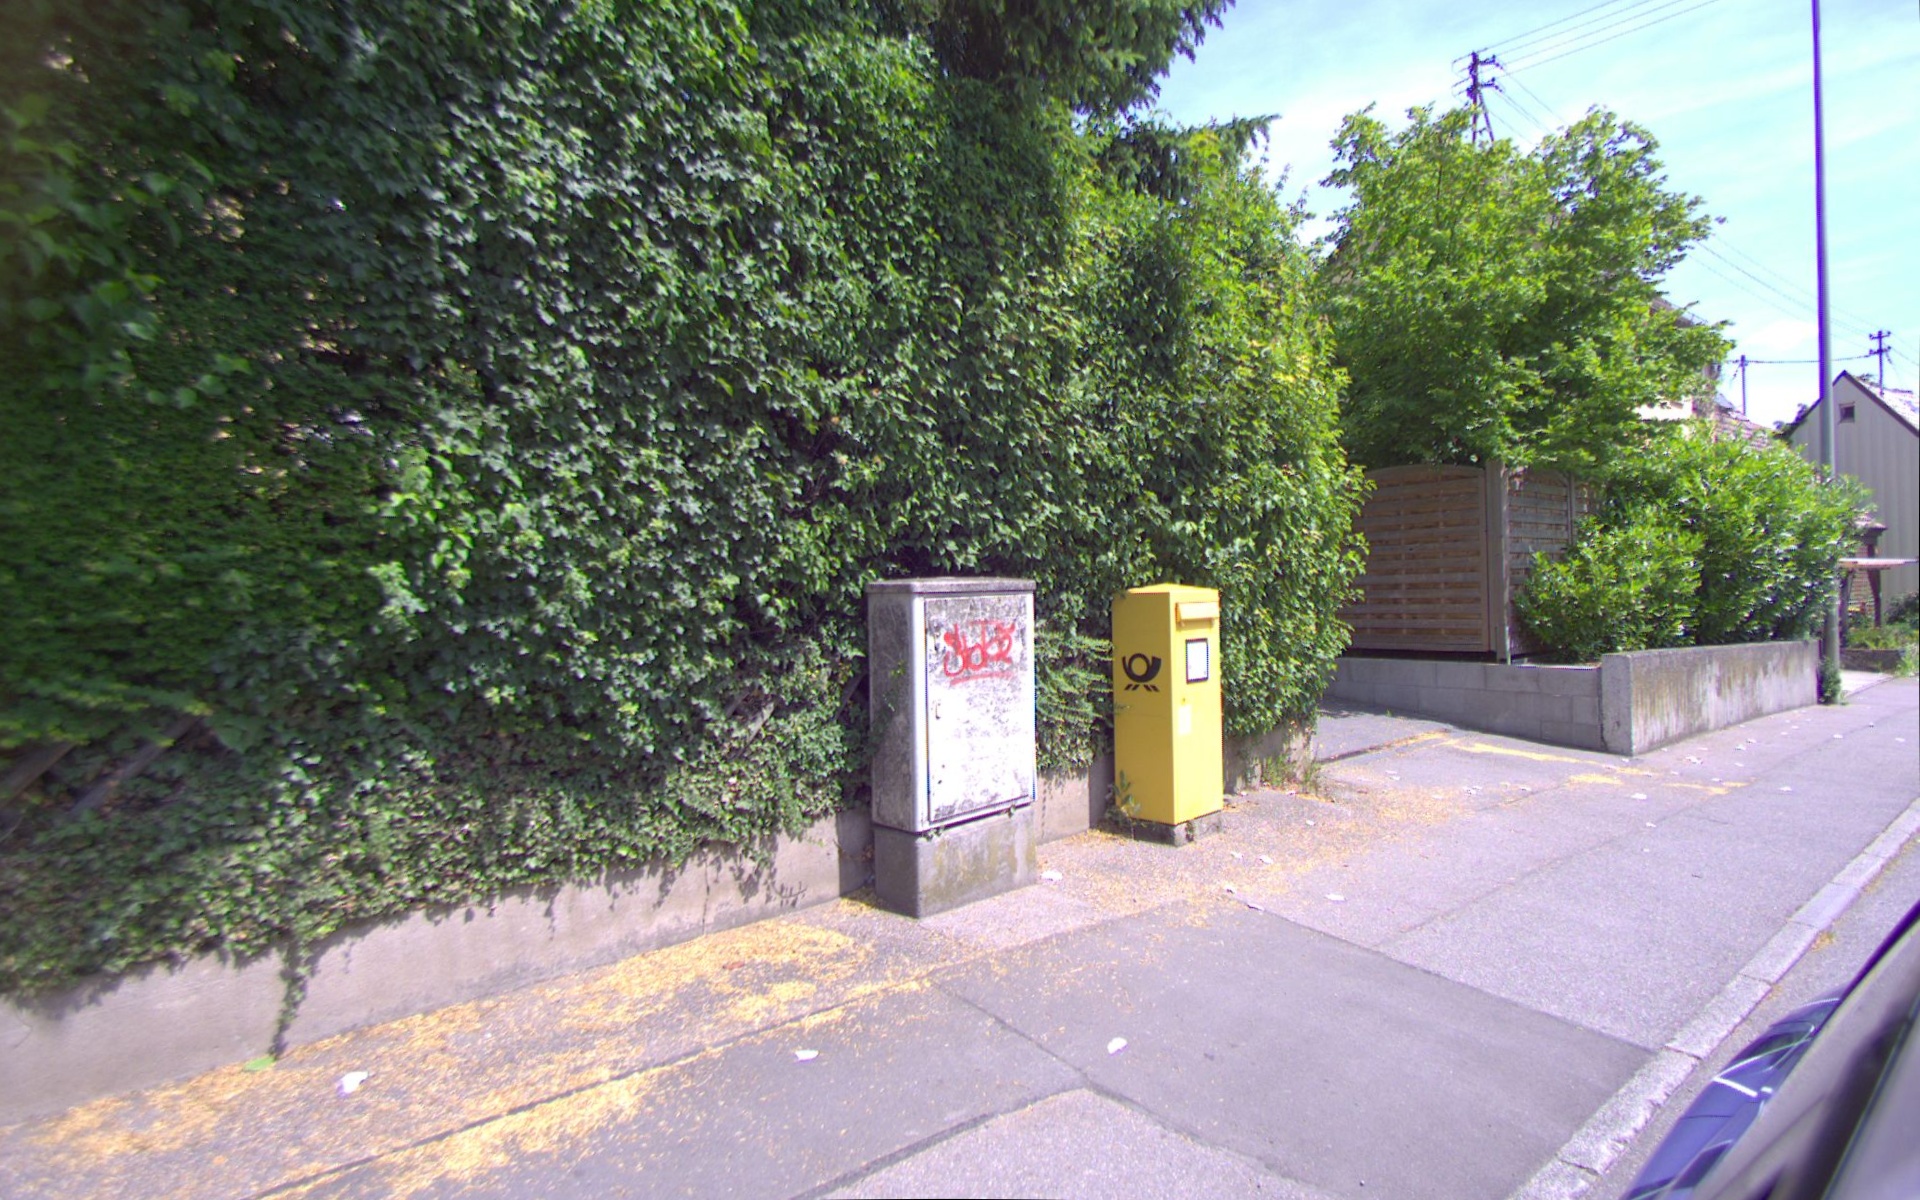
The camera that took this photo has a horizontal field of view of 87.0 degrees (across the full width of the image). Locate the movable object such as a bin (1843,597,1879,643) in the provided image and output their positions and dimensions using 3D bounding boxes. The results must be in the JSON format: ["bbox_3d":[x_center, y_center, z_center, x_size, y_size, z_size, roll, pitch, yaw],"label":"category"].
[{"bbox_3d":[24.488,0.544,27.515,0.539,1.171,0.536,0,6,-40],"label":"movable object such as a bin"}]
